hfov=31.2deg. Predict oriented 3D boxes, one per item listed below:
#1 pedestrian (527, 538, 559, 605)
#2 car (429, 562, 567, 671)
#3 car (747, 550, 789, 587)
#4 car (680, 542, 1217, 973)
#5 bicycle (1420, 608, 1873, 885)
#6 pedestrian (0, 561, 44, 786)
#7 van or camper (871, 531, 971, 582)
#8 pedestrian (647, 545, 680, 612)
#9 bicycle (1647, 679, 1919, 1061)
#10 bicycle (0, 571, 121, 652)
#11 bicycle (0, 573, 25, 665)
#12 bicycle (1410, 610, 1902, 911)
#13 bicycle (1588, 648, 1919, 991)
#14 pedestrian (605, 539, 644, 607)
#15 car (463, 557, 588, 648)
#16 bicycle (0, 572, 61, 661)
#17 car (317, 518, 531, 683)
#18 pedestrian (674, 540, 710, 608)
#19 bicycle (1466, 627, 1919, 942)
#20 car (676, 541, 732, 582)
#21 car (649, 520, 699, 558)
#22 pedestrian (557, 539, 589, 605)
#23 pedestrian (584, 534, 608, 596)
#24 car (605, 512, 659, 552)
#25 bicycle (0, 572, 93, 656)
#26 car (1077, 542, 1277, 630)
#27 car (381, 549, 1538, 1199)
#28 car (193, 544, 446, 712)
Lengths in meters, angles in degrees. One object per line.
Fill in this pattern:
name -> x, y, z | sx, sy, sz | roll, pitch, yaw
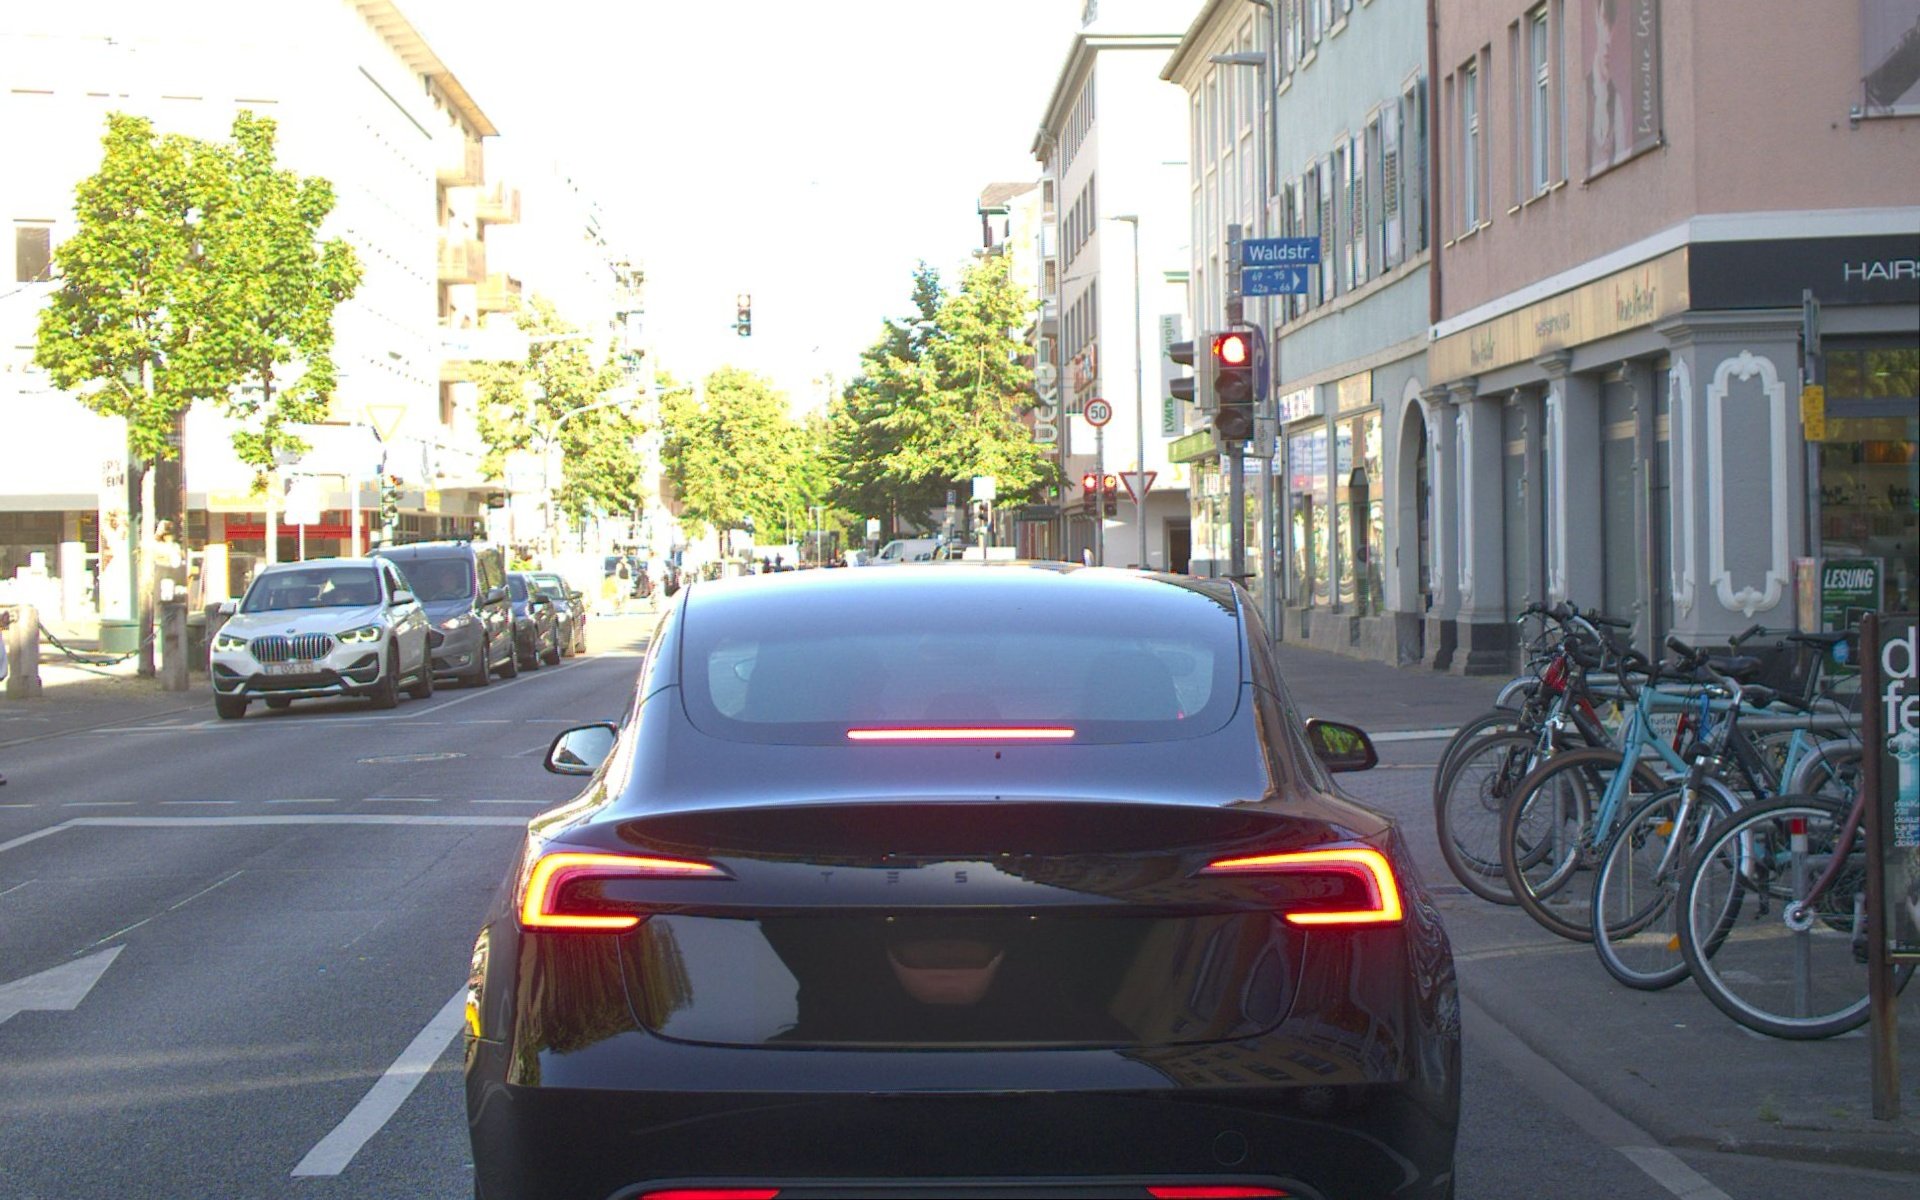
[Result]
pedestrian -> -11.764, -0.805, 96.971 | 0.732, 1.861, 0.791 | 1, 0, -17
car -> -6.658, 0.209, 49.789 | 1.461, 1.425, 3.606 | -4, 1, -1
car -> -10.441, -1.733, 187.126 | 2.132, 1.963, 4.134 | 0, 1, -1
car -> -0.064, 0.525, 14.190 | 1.850, 1.476, 4.452 | 1, 1, -1
bicycle -> 2.918, 0.613, 14.728 | 1.813, 1.148, 0.653 | 0, 1, 1
pedestrian -> -6.924, 0.498, 23.963 | 0.921, 1.538, 0.695 | 1, 0, -6
van or camper -> -1.900, -2.127, 167.540 | 4.850, 2.430, 1.851 | 0, 1, -1
pedestrian -> -8.259, -0.595, 95.732 | 0.694, 1.861, 0.910 | 1, 0, -18
bicycle -> 3.021, 0.760, 10.042 | 1.882, 1.040, 0.653 | -1, 1, 1
bicycle -> -14.698, 0.168, 54.557 | 2.542, 1.247, 0.943 | 1, 0, -3
bicycle -> -14.490, 0.240, 47.538 | 2.875, 1.266, 0.943 | 1, 0, -3
bicycle -> 2.726, 0.621, 13.593 | 1.813, 1.148, 0.653 | 0, 1, 1
bicycle -> 2.995, 0.693, 11.113 | 1.813, 1.056, 0.653 | 0, 1, 1
pedestrian -> -9.223, -0.746, 94.595 | 0.734, 1.861, 0.789 | 1, 0, 28
car -> -7.133, 0.025, 56.739 | 1.693, 1.385, 3.916 | -2, 0, -2
bicycle -> -14.492, 0.222, 49.857 | 2.662, 1.255, 0.943 | 1, 0, -3
car -> -6.576, -0.032, 42.655 | 1.945, 1.940, 4.820 | 0, 1, -1
pedestrian -> -7.467, -0.733, 95.769 | 0.774, 1.861, 1.009 | 1, 0, -16
bicycle -> 2.795, 0.657, 12.520 | 1.813, 1.098, 0.653 | 0, 1, 1
car -> -12.394, -1.862, 166.443 | 2.414, 1.963, 4.678 | 0, 1, -1
car -> -15.648, -3.347, 188.273 | 2.275, 2.007, 4.717 | 1, 1, 1
pedestrian -> -10.937, -0.795, 97.149 | 0.732, 1.861, 0.791 | 1, 0, -17
pedestrian -> -10.998, -1.068, 103.870 | 0.695, 1.861, 0.659 | 1, 0, -5
car -> -17.124, -3.527, 179.634 | 2.275, 2.007, 4.717 | 1, 1, 1
bicycle -> -14.537, 0.195, 52.132 | 2.542, 1.247, 0.943 | 1, 0, -3
car -> 4.706, -0.321, 74.667 | 3.992, 1.861, 1.698 | 0, 1, -21
car -> -0.029, 0.629, 7.765 | 1.850, 1.442, 4.452 | 1, 1, -1
car -> -6.691, 0.258, 36.332 | 1.825, 1.559, 4.301 | -4, 1, -1
